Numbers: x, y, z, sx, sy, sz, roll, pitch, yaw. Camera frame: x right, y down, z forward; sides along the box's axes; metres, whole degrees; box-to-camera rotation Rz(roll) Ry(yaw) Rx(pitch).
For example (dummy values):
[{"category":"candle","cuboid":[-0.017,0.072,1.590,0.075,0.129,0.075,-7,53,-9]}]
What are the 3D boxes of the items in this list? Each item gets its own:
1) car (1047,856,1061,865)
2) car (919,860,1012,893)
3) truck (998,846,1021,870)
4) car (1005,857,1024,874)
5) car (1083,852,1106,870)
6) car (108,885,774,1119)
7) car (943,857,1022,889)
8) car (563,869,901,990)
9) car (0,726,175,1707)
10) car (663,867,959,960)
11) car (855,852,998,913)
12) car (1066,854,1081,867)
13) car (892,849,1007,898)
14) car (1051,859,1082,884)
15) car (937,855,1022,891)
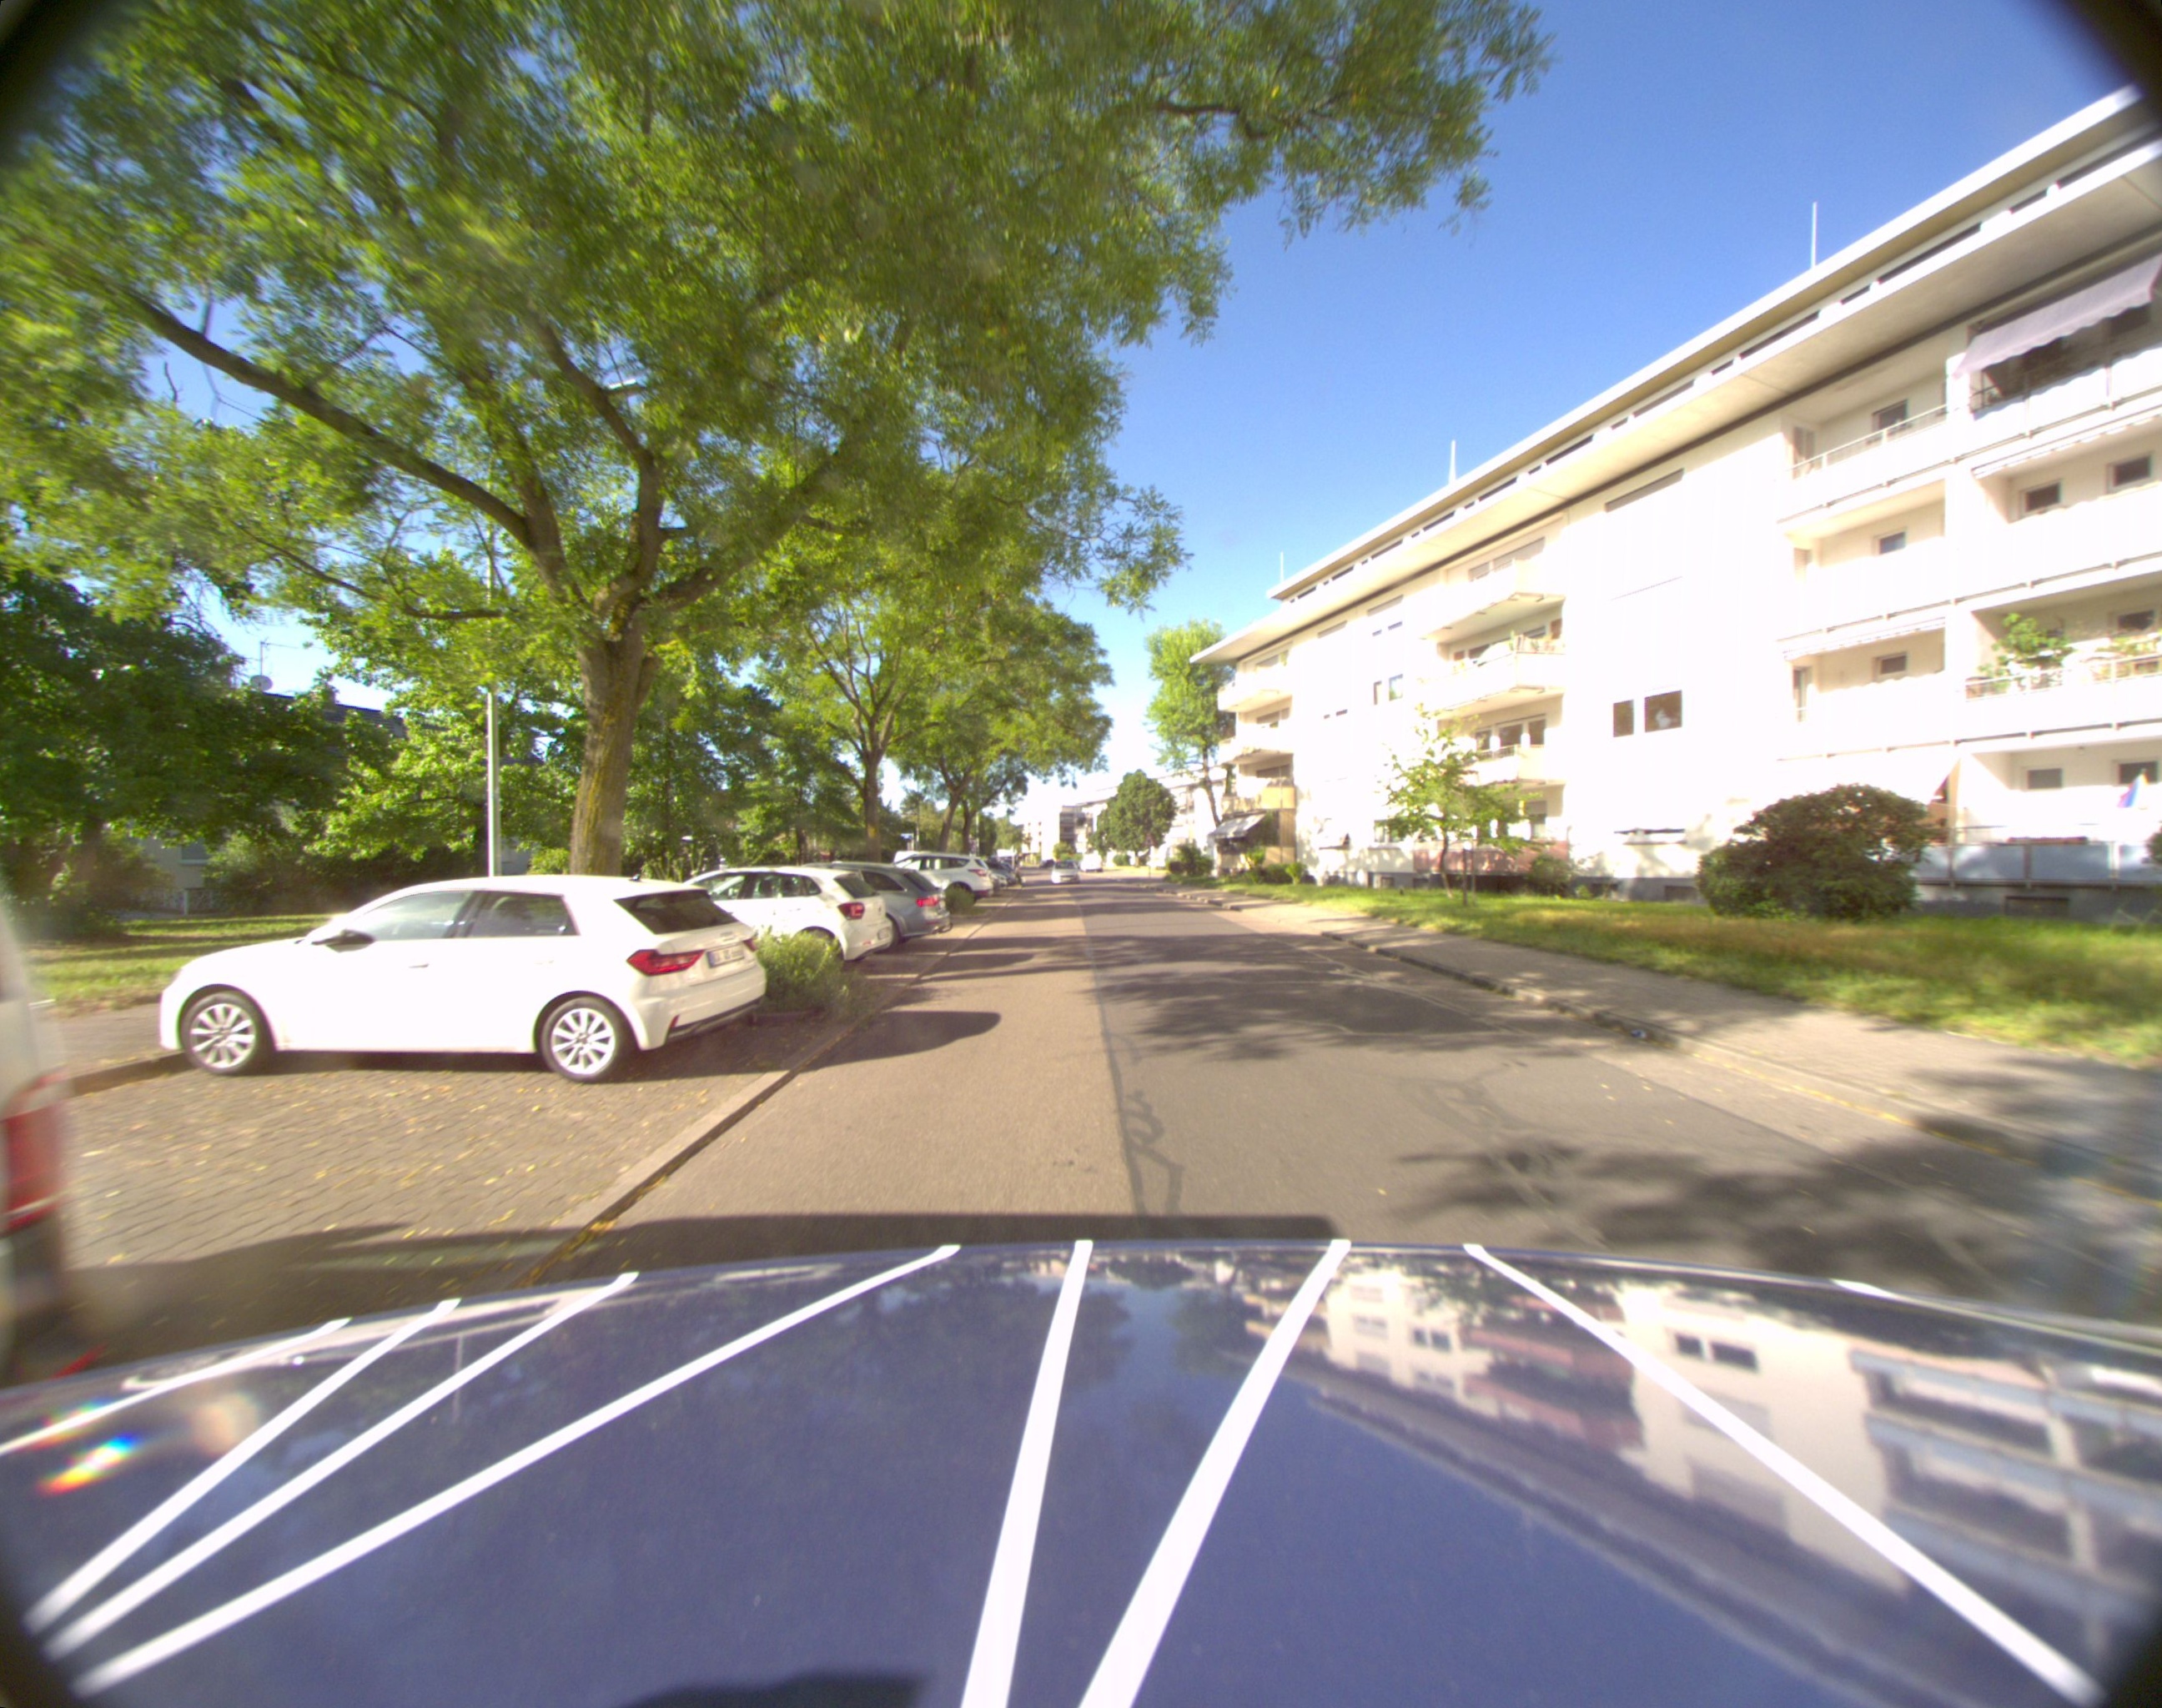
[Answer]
[{"category":"car","cuboid":[-4.769,1.144,131.580,1.795,1.535,4.048,-3,0,-10]},{"category":"car","cuboid":[-5.352,1.029,35.641,4.150,1.400,1.745,2,0,-4]},{"category":"truck","cuboid":[-9.136,0.487,97.252,2.764,2.785,8.262,2,0,-5]},{"category":"car","cuboid":[-6.791,1.131,77.419,1.774,1.606,4.050,2,0,-5]},{"category":"car","cuboid":[1.453,0.757,84.153,2.007,1.837,4.614,-2,0,-4]},{"category":"car","cuboid":[-4.679,1.008,5.914,3.916,1.427,1.637,0,0,4]},{"category":"car","cuboid":[-5.250,1.016,40.852,4.053,1.544,1.745,2,0,-4]},{"category":"car","cuboid":[-4.694,0.985,10.597,3.917,1.427,1.636,2,0,1]},{"category":"car","cuboid":[-4.361,0.721,0.805,4.462,2.005,2.021,1,0,2]},{"category":"car","cuboid":[-4.491,0.975,13.145,4.492,1.463,1.745,0,0,-2]},{"category":"car","cuboid":[-4.649,0.841,23.287,4.052,1.753,1.745,0,0,-2]},{"category":"car","cuboid":[-0.983,0.910,102.926,1.694,1.661,4.050,-1,0,-5]},{"category":"car","cuboid":[-5.263,0.784,30.858,4.446,1.910,1.744,0,0,-7]},{"category":"car","cuboid":[-0.951,1.058,47.581,1.597,1.417,4.168,2,0,-5]},{"category":"car","cuboid":[-5.057,0.932,38.272,4.053,1.649,1.745,-2,0,-4]}]
